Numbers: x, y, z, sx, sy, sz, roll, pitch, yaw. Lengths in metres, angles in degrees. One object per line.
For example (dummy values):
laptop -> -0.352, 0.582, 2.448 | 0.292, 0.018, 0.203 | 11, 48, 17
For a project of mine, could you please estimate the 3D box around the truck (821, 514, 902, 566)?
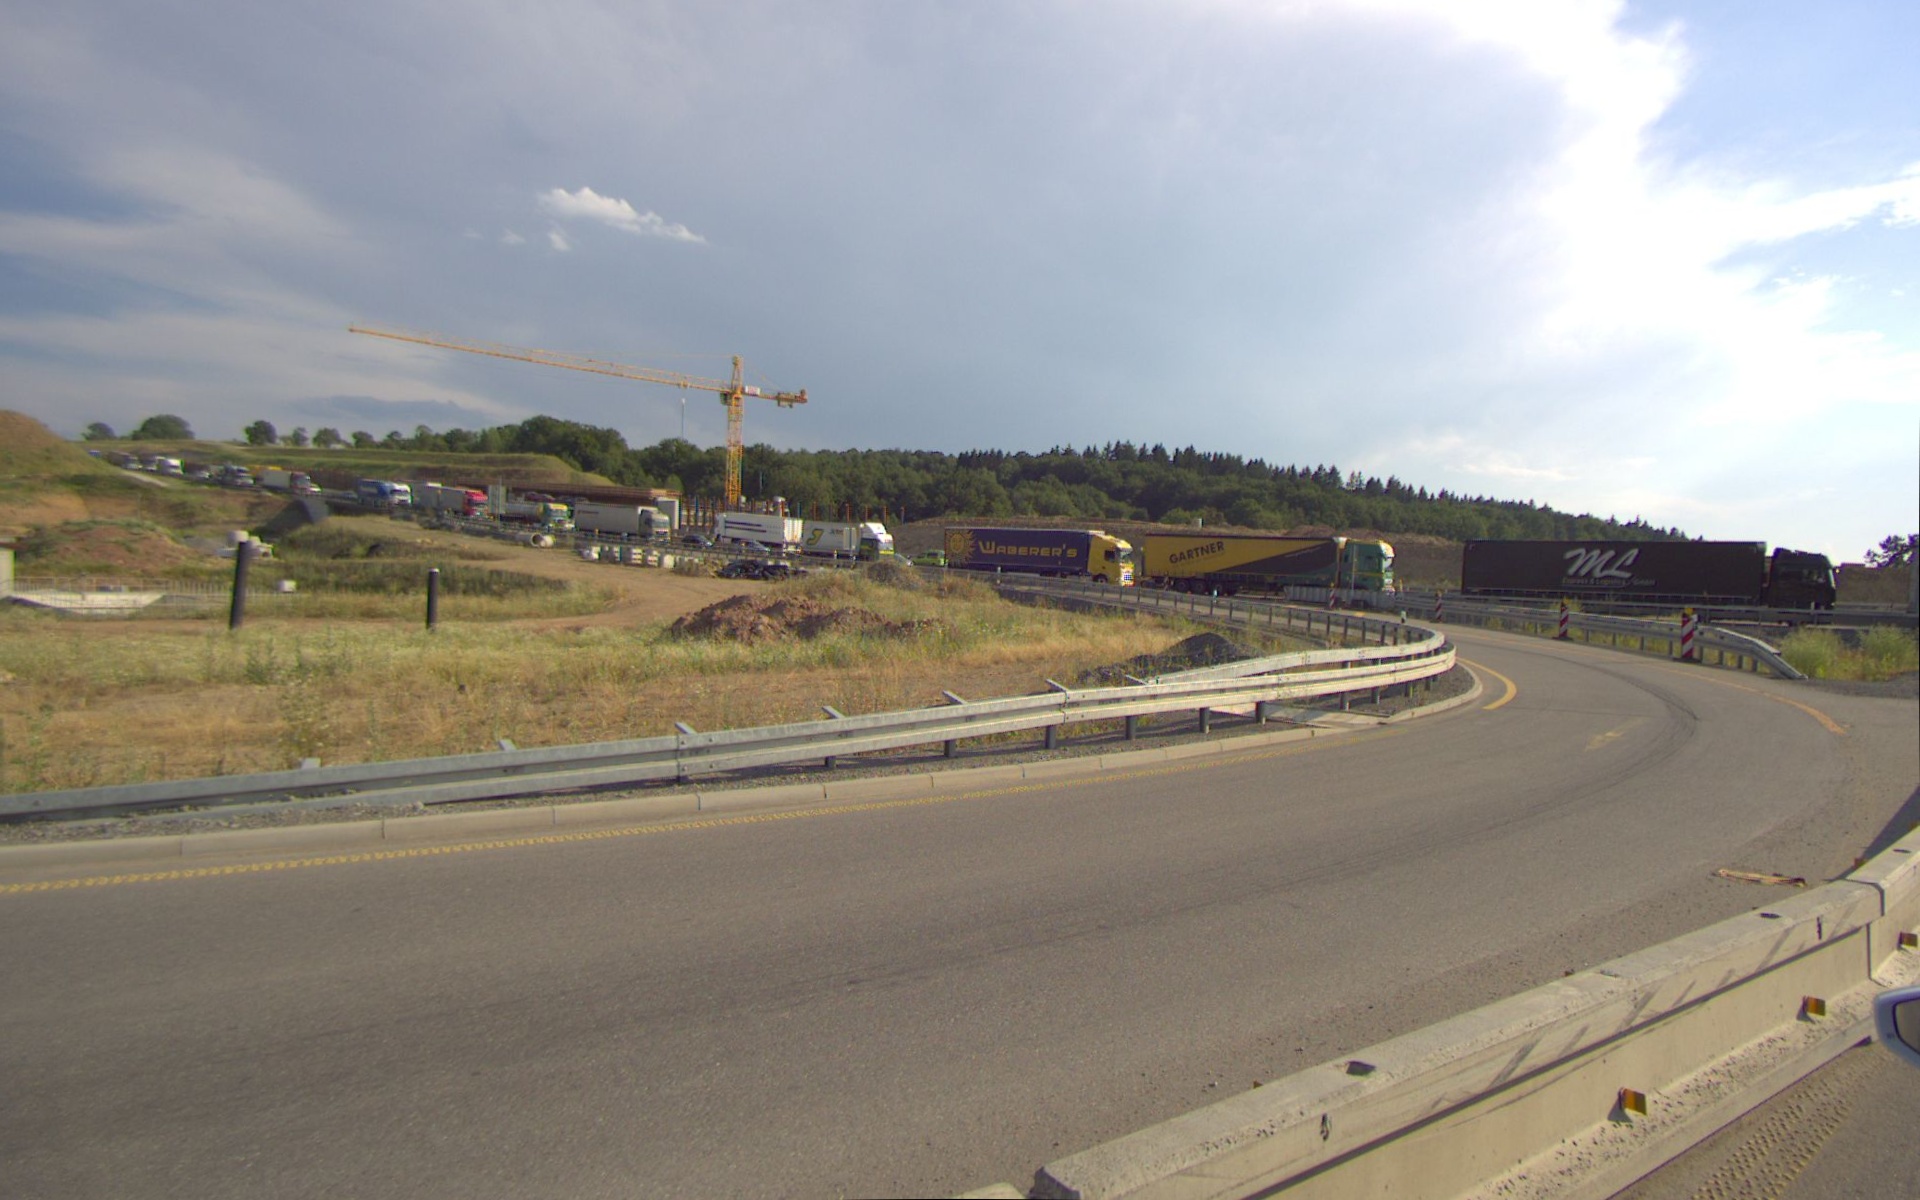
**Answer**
truck -> -8.846, -5.378, 89.728 | 6.791, 4.372, 3.100 | 4, 2, 39

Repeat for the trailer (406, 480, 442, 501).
trailer -> -101.636, -20.722, 190.508 | 11.004, 3.561, 1.963 | 4, 2, 40

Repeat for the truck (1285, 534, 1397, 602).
truck -> 23.774, -2.049, 62.849 | 5.918, 3.954, 2.477 | 4, 3, 39

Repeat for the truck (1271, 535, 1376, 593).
truck -> 26.703, -2.675, 73.930 | 6.521, 4.050, 2.845 | 4, 3, 38

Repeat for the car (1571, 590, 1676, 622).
car -> 38.640, 0.317, 58.572 | 4.903, 1.521, 2.025 | 3, 4, 40

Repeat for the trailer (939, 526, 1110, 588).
trailer -> 4.787, -3.447, 78.622 | 14.032, 4.372, 3.100 | 4, 2, 39

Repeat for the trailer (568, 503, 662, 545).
trailer -> -39.550, -8.716, 114.729 | 14.032, 4.372, 3.100 | 4, 2, 39

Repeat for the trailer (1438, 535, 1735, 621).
trailer -> 33.732, -1.363, 54.862 | 13.415, 4.116, 2.478 | 4, 3, 38

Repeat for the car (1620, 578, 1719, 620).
car -> 38.600, -0.066, 54.680 | 4.263, 2.040, 1.520 | 4, 2, 38

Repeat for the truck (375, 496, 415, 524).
truck -> -87.785, -13.897, 156.007 | 8.425, 4.054, 2.511 | 4, 2, 41

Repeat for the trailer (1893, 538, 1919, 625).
trailer -> 49.150, -0.518, 42.781 | 13.417, 3.931, 2.478 | 4, 3, 38

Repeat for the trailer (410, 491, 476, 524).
trailer -> -74.669, -13.272, 144.934 | 14.032, 4.372, 3.100 | 4, 2, 39

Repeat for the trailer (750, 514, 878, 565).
trailer -> -13.841, -5.681, 93.855 | 14.032, 4.372, 3.100 | 4, 2, 39

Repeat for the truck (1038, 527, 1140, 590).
truck -> 9.533, -3.106, 74.712 | 6.791, 4.372, 3.100 | 4, 2, 39

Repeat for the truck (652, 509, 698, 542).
truck -> -40.500, -10.592, 142.634 | 6.796, 4.372, 3.097 | 4, 2, 42

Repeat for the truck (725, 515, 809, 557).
truck -> -22.970, -7.541, 118.697 | 3.546, 4.471, 13.011 | 2, 2, -42

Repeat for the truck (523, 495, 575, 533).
truck -> -51.313, -10.740, 125.363 | 6.791, 4.372, 3.100 | 4, 2, 39

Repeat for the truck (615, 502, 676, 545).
truck -> -34.716, -8.426, 110.737 | 6.791, 4.372, 3.100 | 4, 2, 39

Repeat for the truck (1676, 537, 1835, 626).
truck -> 39.637, -1.010, 50.304 | 5.914, 4.115, 2.479 | 4, 3, 37

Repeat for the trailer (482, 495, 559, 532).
trailer -> -57.142, -11.142, 130.346 | 14.032, 4.372, 3.100 | 4, 2, 39

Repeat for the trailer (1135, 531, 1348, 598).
trailer -> 18.460, -2.469, 67.177 | 13.759, 4.012, 2.477 | 4, 3, 39

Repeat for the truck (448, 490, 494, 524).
truck -> -67.795, -12.816, 139.285 | 6.791, 4.372, 3.100 | 4, 2, 39
